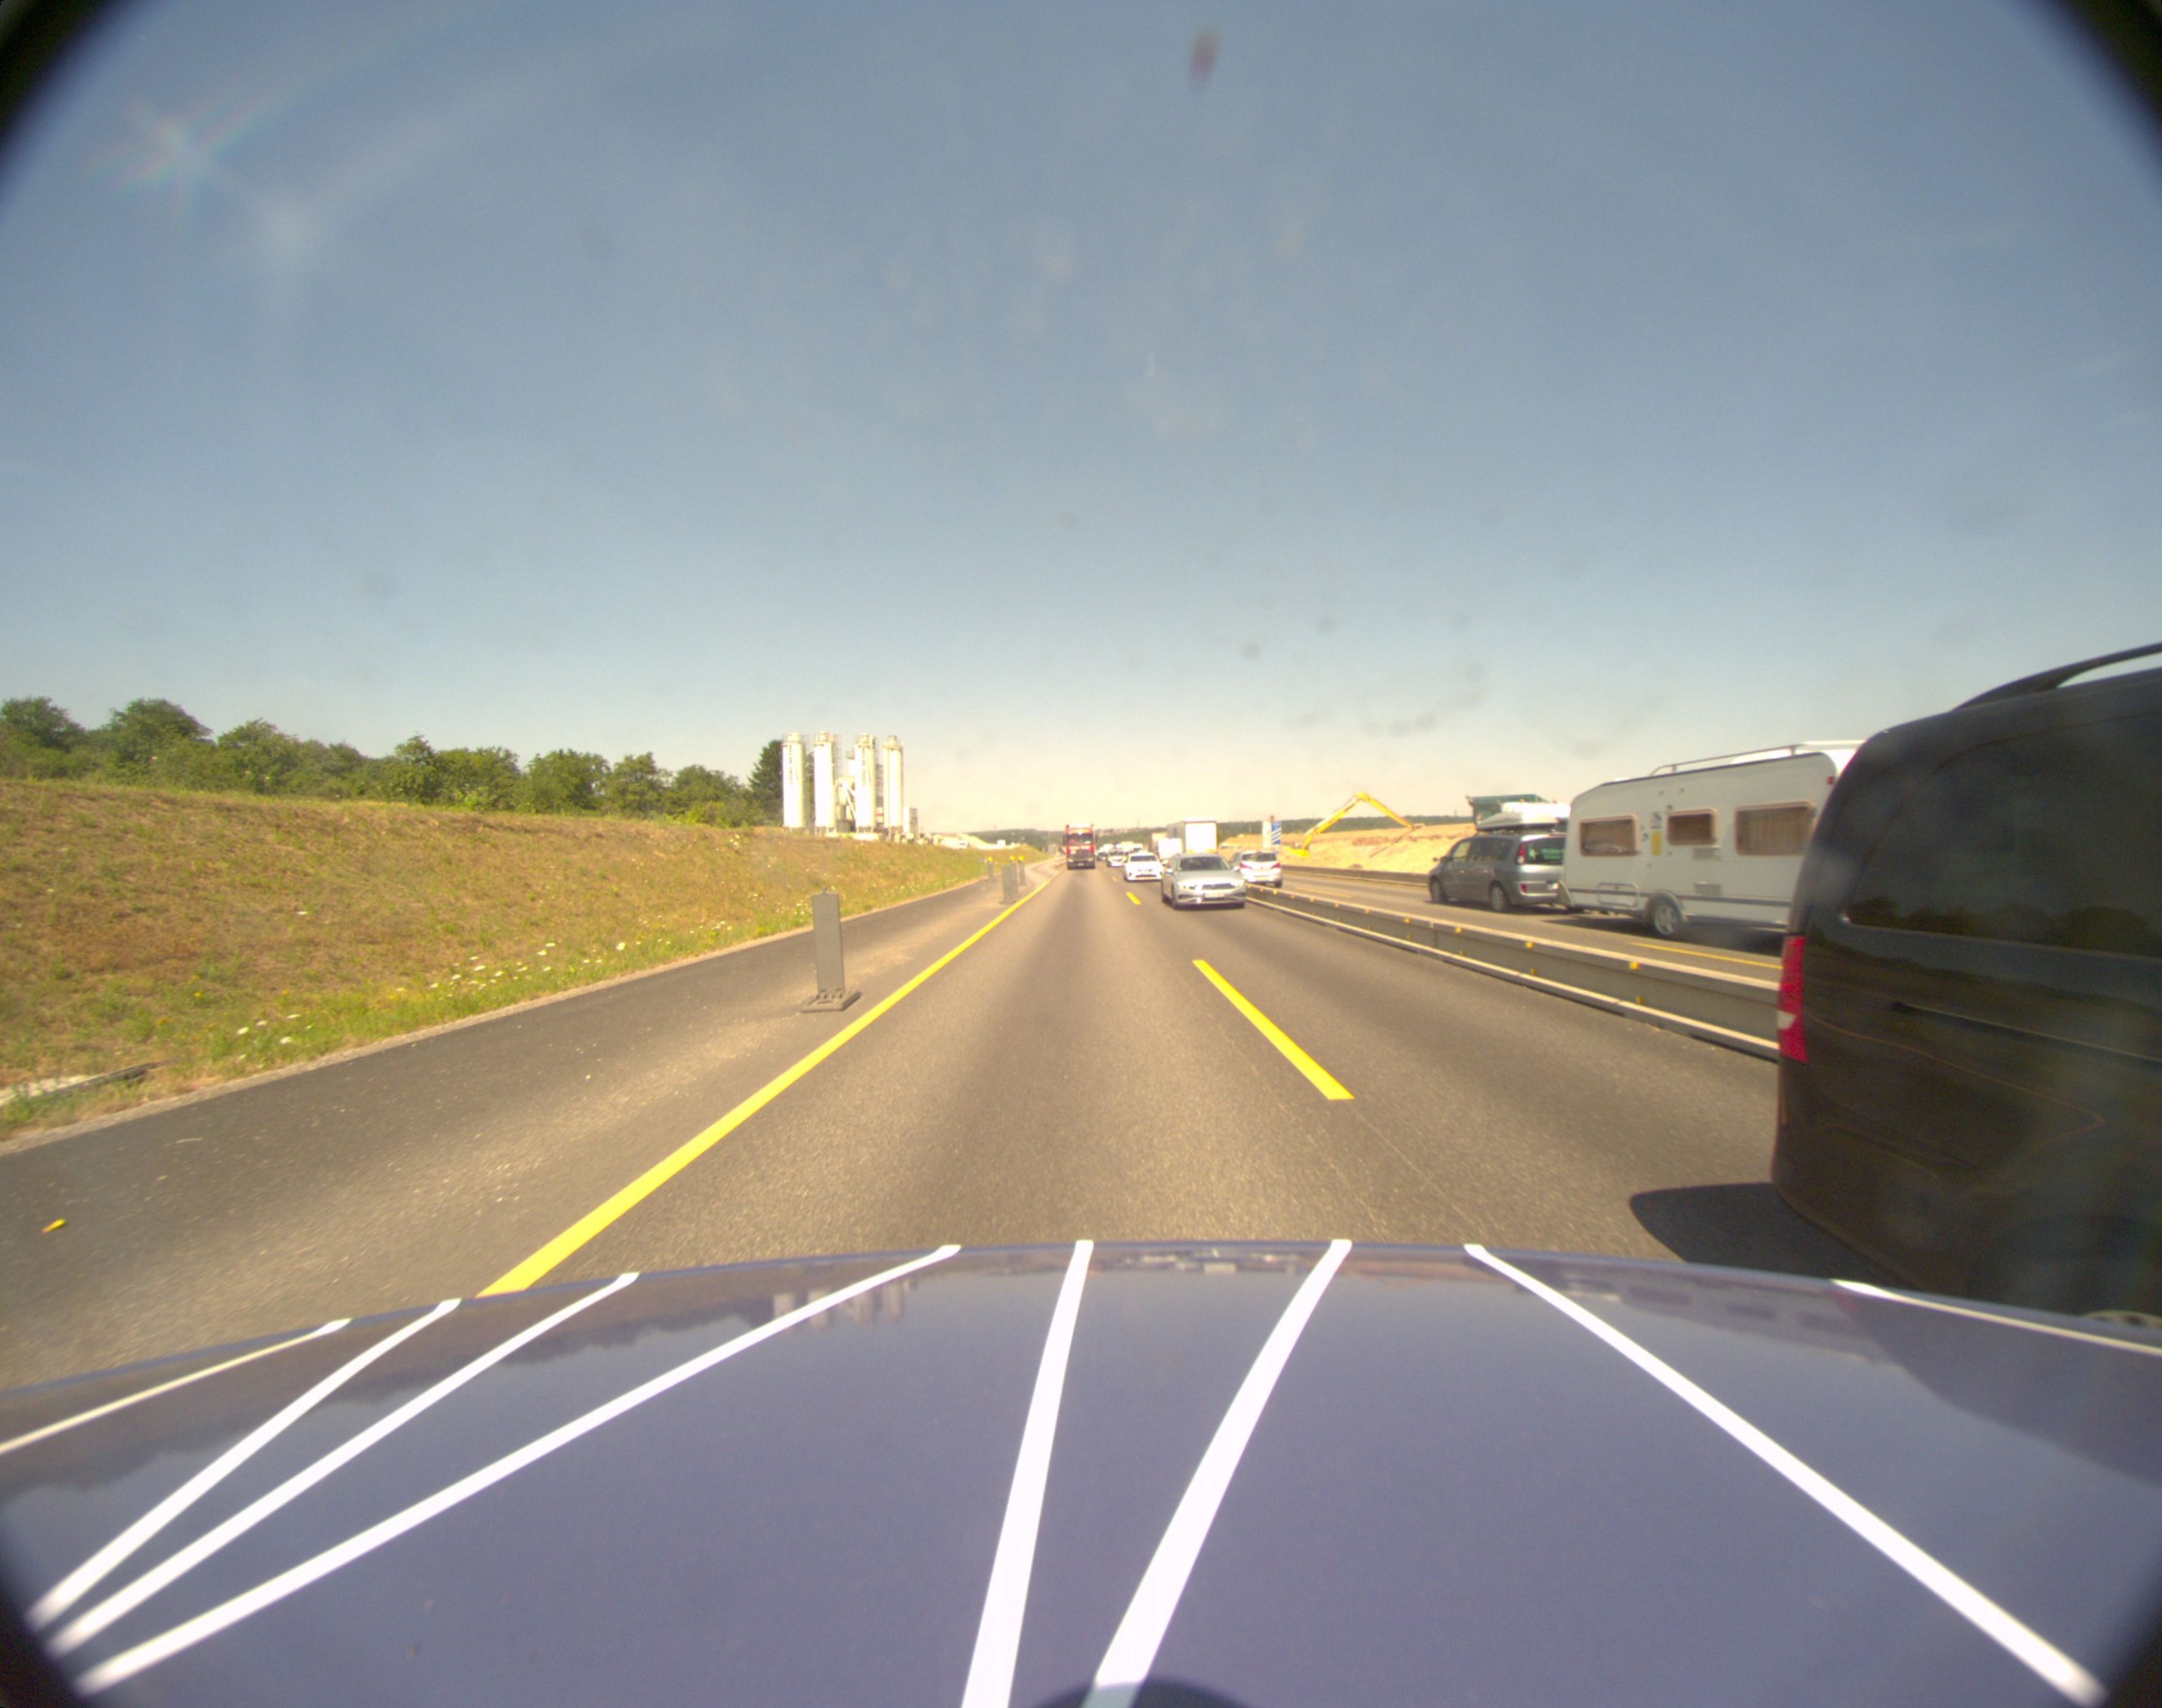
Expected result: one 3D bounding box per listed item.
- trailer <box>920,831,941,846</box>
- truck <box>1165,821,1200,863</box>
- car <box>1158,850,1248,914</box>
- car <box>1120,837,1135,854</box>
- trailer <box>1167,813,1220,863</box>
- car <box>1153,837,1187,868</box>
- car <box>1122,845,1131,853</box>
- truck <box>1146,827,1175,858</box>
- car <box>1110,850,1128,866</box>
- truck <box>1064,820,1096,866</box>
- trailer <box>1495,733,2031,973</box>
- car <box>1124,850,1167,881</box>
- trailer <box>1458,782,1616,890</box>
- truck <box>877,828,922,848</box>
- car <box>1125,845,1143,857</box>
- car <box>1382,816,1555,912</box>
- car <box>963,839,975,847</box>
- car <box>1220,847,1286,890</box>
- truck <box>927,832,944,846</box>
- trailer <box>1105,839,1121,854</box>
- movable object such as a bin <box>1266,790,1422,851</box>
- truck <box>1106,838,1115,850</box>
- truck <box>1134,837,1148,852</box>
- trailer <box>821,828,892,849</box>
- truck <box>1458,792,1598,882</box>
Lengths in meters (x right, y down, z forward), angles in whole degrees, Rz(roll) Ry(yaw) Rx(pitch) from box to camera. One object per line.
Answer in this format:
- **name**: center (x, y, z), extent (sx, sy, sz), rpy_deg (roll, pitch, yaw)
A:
- **trailer**: center (-27.638, -2.835, 139.833), extent (1.998, 2.629, 6.937), rpy_deg (-2, 1, 4)
- **truck**: center (10.101, -1.191, 75.884), extent (2.856, 3.995, 4.858), rpy_deg (-1, 1, 0)
- **car**: center (3.226, 0.691, 20.865), extent (1.804, 1.499, 4.100), rpy_deg (-2, 0, 0)
- **car**: center (10.991, -1.917, 179.545), extent (2.915, 3.718, 8.090), rpy_deg (-2, 0, 1)
- **trailer**: center (10.016, -1.416, 69.322), extent (2.861, 4.070, 13.650), rpy_deg (-1, 1, 1)
- **car**: center (6.999, -0.179, 60.576), extent (1.998, 2.279, 5.342), rpy_deg (-2, 1, 0)
- **car**: center (8.898, -1.050, 149.197), extent (1.631, 1.476, 4.053), rpy_deg (-2, 1, 1)
- **truck**: center (10.180, -1.445, 97.990), extent (2.651, 3.695, 9.481), rpy_deg (-2, 1, 1)
- **car**: center (3.622, 0.321, 73.042), extent (1.601, 1.390, 3.695), rpy_deg (-2, 1, 1)
- **truck**: center (-0.002, -1.045, 70.177), extent (2.537, 3.799, 9.480), rpy_deg (-2, 1, 1)
- **trailer**: center (9.454, -0.027, 11.865), extent (2.317, 2.671, 6.755), rpy_deg (0, 0, 0)
- **car**: center (3.234, 0.565, 38.895), extent (1.875, 1.390, 4.029), rpy_deg (-2, 1, 1)
- **trailer**: center (19.493, -0.831, 32.210), extent (8.384, 4.075, 2.792), rpy_deg (-3, 2, -38)
- **truck**: center (-25.475, -2.232, 106.602), extent (5.317, 2.530, 2.897), rpy_deg (-3, 1, -36)
- **car**: center (7.261, -0.451, 103.928), extent (1.862, 1.434, 4.499), rpy_deg (-2, 1, -2)
- **car**: center (9.684, 0.183, 19.530), extent (1.998, 2.143, 4.864), rpy_deg (0, 1, 1)
- **car**: center (-24.269, -2.365, 164.460), extent (1.990, 1.752, 3.601), rpy_deg (-2, 1, 0)
- **car**: center (6.713, 0.527, 30.107), extent (1.693, 1.493, 3.975), rpy_deg (-2, 1, 0)
- **truck**: center (-27.390, -2.918, 143.450), extent (2.021, 2.531, 4.041), rpy_deg (-2, 1, 4)
- **trailer**: center (10.526, -2.537, 250.863), extent (2.995, 4.570, 12.873), rpy_deg (-3, 1, -7)
- **movable object such as a bin**: center (32.955, -4.168, 95.808), extent (18.266, 6.734, 3.388), rpy_deg (-2, 1, 0)
- **truck**: center (7.880, -2.739, 204.812), extent (2.276, 3.132, 7.313), rpy_deg (-2, 1, 2)
- **truck**: center (11.570, -1.775, 146.277), extent (2.103, 2.554, 6.354), rpy_deg (-3, -1, 0)
- **trailer**: center (-30.987, -2.108, 105.016), extent (8.919, 2.592, 2.463), rpy_deg (-1, 1, -3)
- **truck**: center (16.347, -0.629, 28.205), extent (2.584, 2.947, 5.064), rpy_deg (-2, 1, 7)
